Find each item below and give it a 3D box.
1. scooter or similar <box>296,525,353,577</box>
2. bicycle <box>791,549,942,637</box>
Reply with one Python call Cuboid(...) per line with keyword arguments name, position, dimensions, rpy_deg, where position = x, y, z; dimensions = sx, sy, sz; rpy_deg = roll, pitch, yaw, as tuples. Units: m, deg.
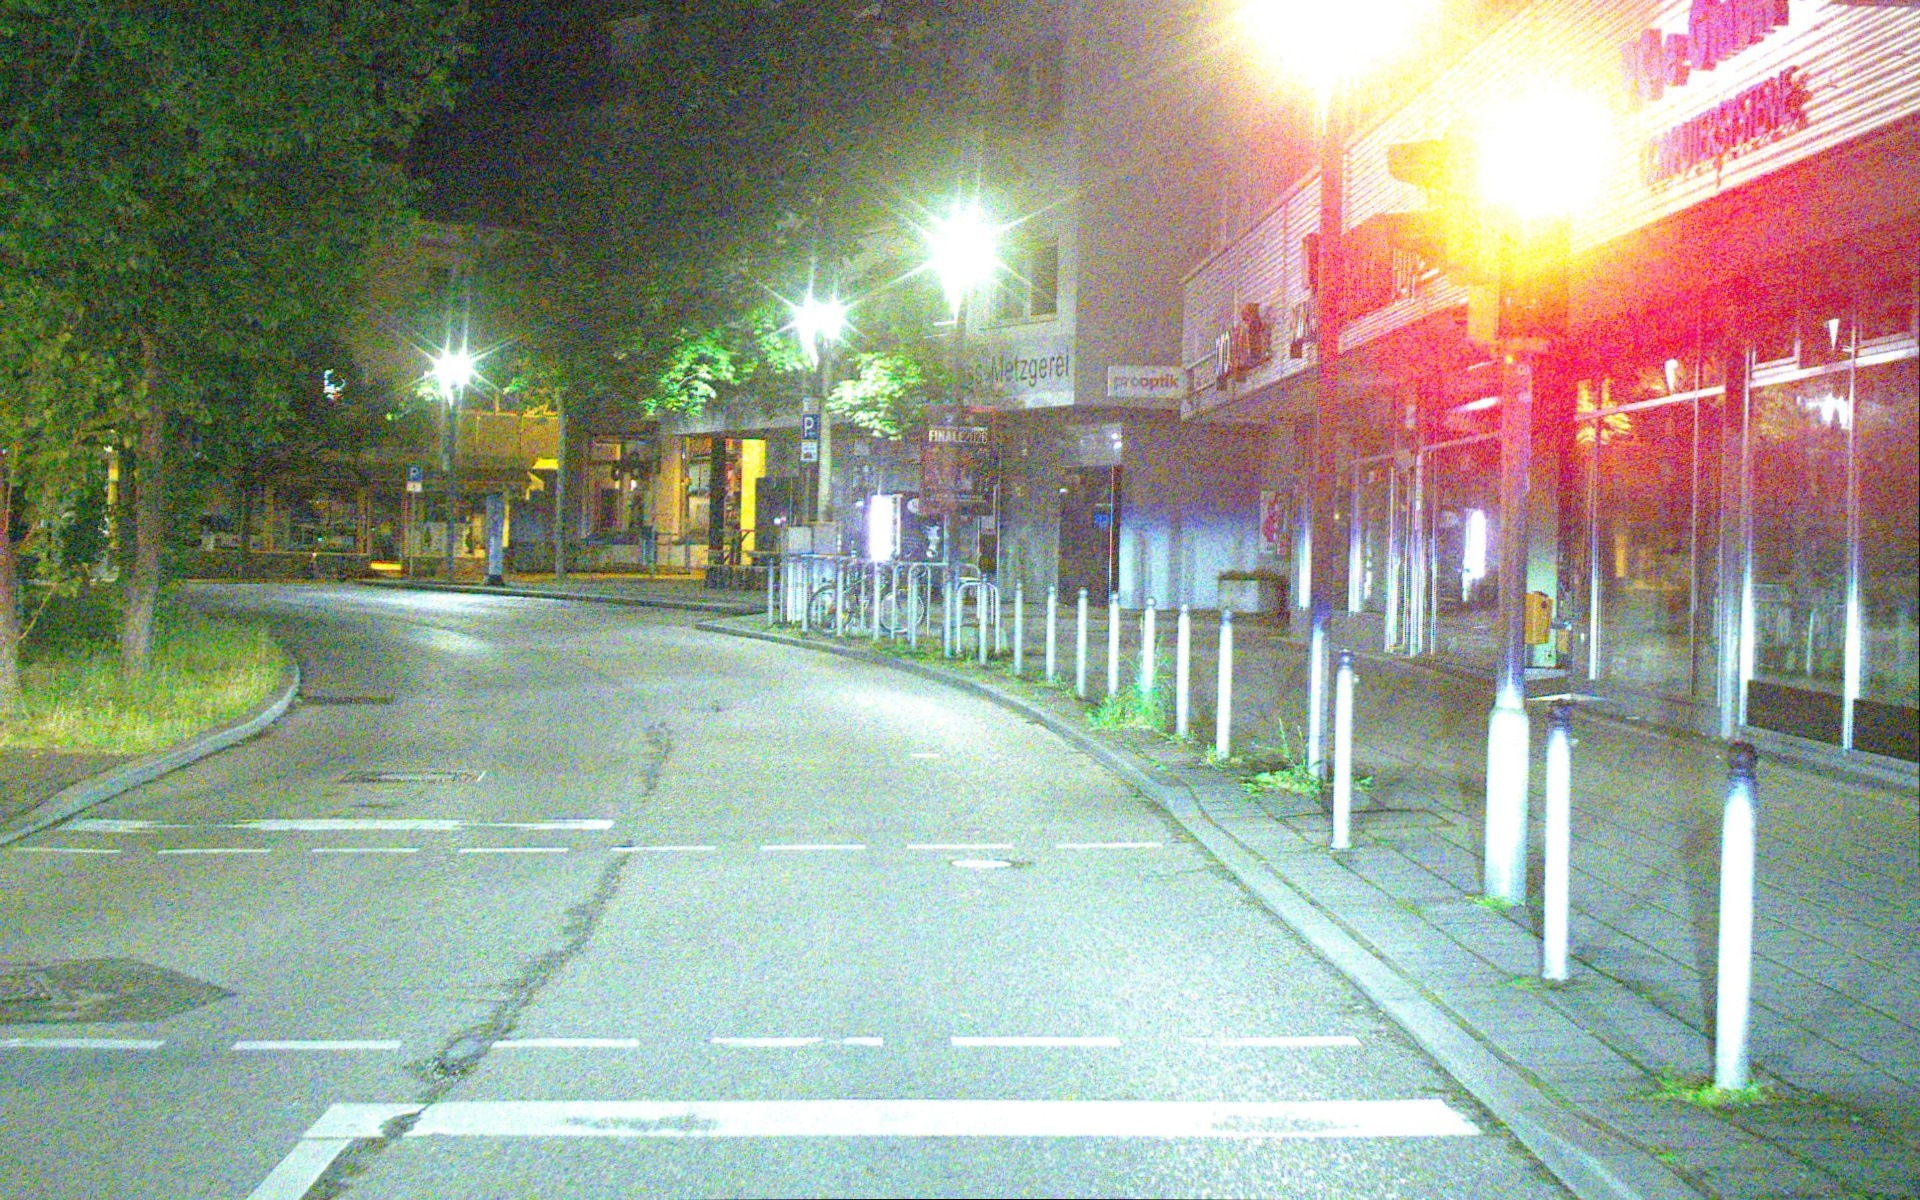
Cuboid(name="scooter or similar", position=(-15.828, -1.216, 85.619), dimensions=(1.246, 1.223, 0.598), rpy_deg=(2, 1, -28))
Cuboid(name="bicycle", position=(-1.175, -0.083, 43.144), dimensions=(1.749, 1.059, 0.656), rpy_deg=(1, 2, -25))
